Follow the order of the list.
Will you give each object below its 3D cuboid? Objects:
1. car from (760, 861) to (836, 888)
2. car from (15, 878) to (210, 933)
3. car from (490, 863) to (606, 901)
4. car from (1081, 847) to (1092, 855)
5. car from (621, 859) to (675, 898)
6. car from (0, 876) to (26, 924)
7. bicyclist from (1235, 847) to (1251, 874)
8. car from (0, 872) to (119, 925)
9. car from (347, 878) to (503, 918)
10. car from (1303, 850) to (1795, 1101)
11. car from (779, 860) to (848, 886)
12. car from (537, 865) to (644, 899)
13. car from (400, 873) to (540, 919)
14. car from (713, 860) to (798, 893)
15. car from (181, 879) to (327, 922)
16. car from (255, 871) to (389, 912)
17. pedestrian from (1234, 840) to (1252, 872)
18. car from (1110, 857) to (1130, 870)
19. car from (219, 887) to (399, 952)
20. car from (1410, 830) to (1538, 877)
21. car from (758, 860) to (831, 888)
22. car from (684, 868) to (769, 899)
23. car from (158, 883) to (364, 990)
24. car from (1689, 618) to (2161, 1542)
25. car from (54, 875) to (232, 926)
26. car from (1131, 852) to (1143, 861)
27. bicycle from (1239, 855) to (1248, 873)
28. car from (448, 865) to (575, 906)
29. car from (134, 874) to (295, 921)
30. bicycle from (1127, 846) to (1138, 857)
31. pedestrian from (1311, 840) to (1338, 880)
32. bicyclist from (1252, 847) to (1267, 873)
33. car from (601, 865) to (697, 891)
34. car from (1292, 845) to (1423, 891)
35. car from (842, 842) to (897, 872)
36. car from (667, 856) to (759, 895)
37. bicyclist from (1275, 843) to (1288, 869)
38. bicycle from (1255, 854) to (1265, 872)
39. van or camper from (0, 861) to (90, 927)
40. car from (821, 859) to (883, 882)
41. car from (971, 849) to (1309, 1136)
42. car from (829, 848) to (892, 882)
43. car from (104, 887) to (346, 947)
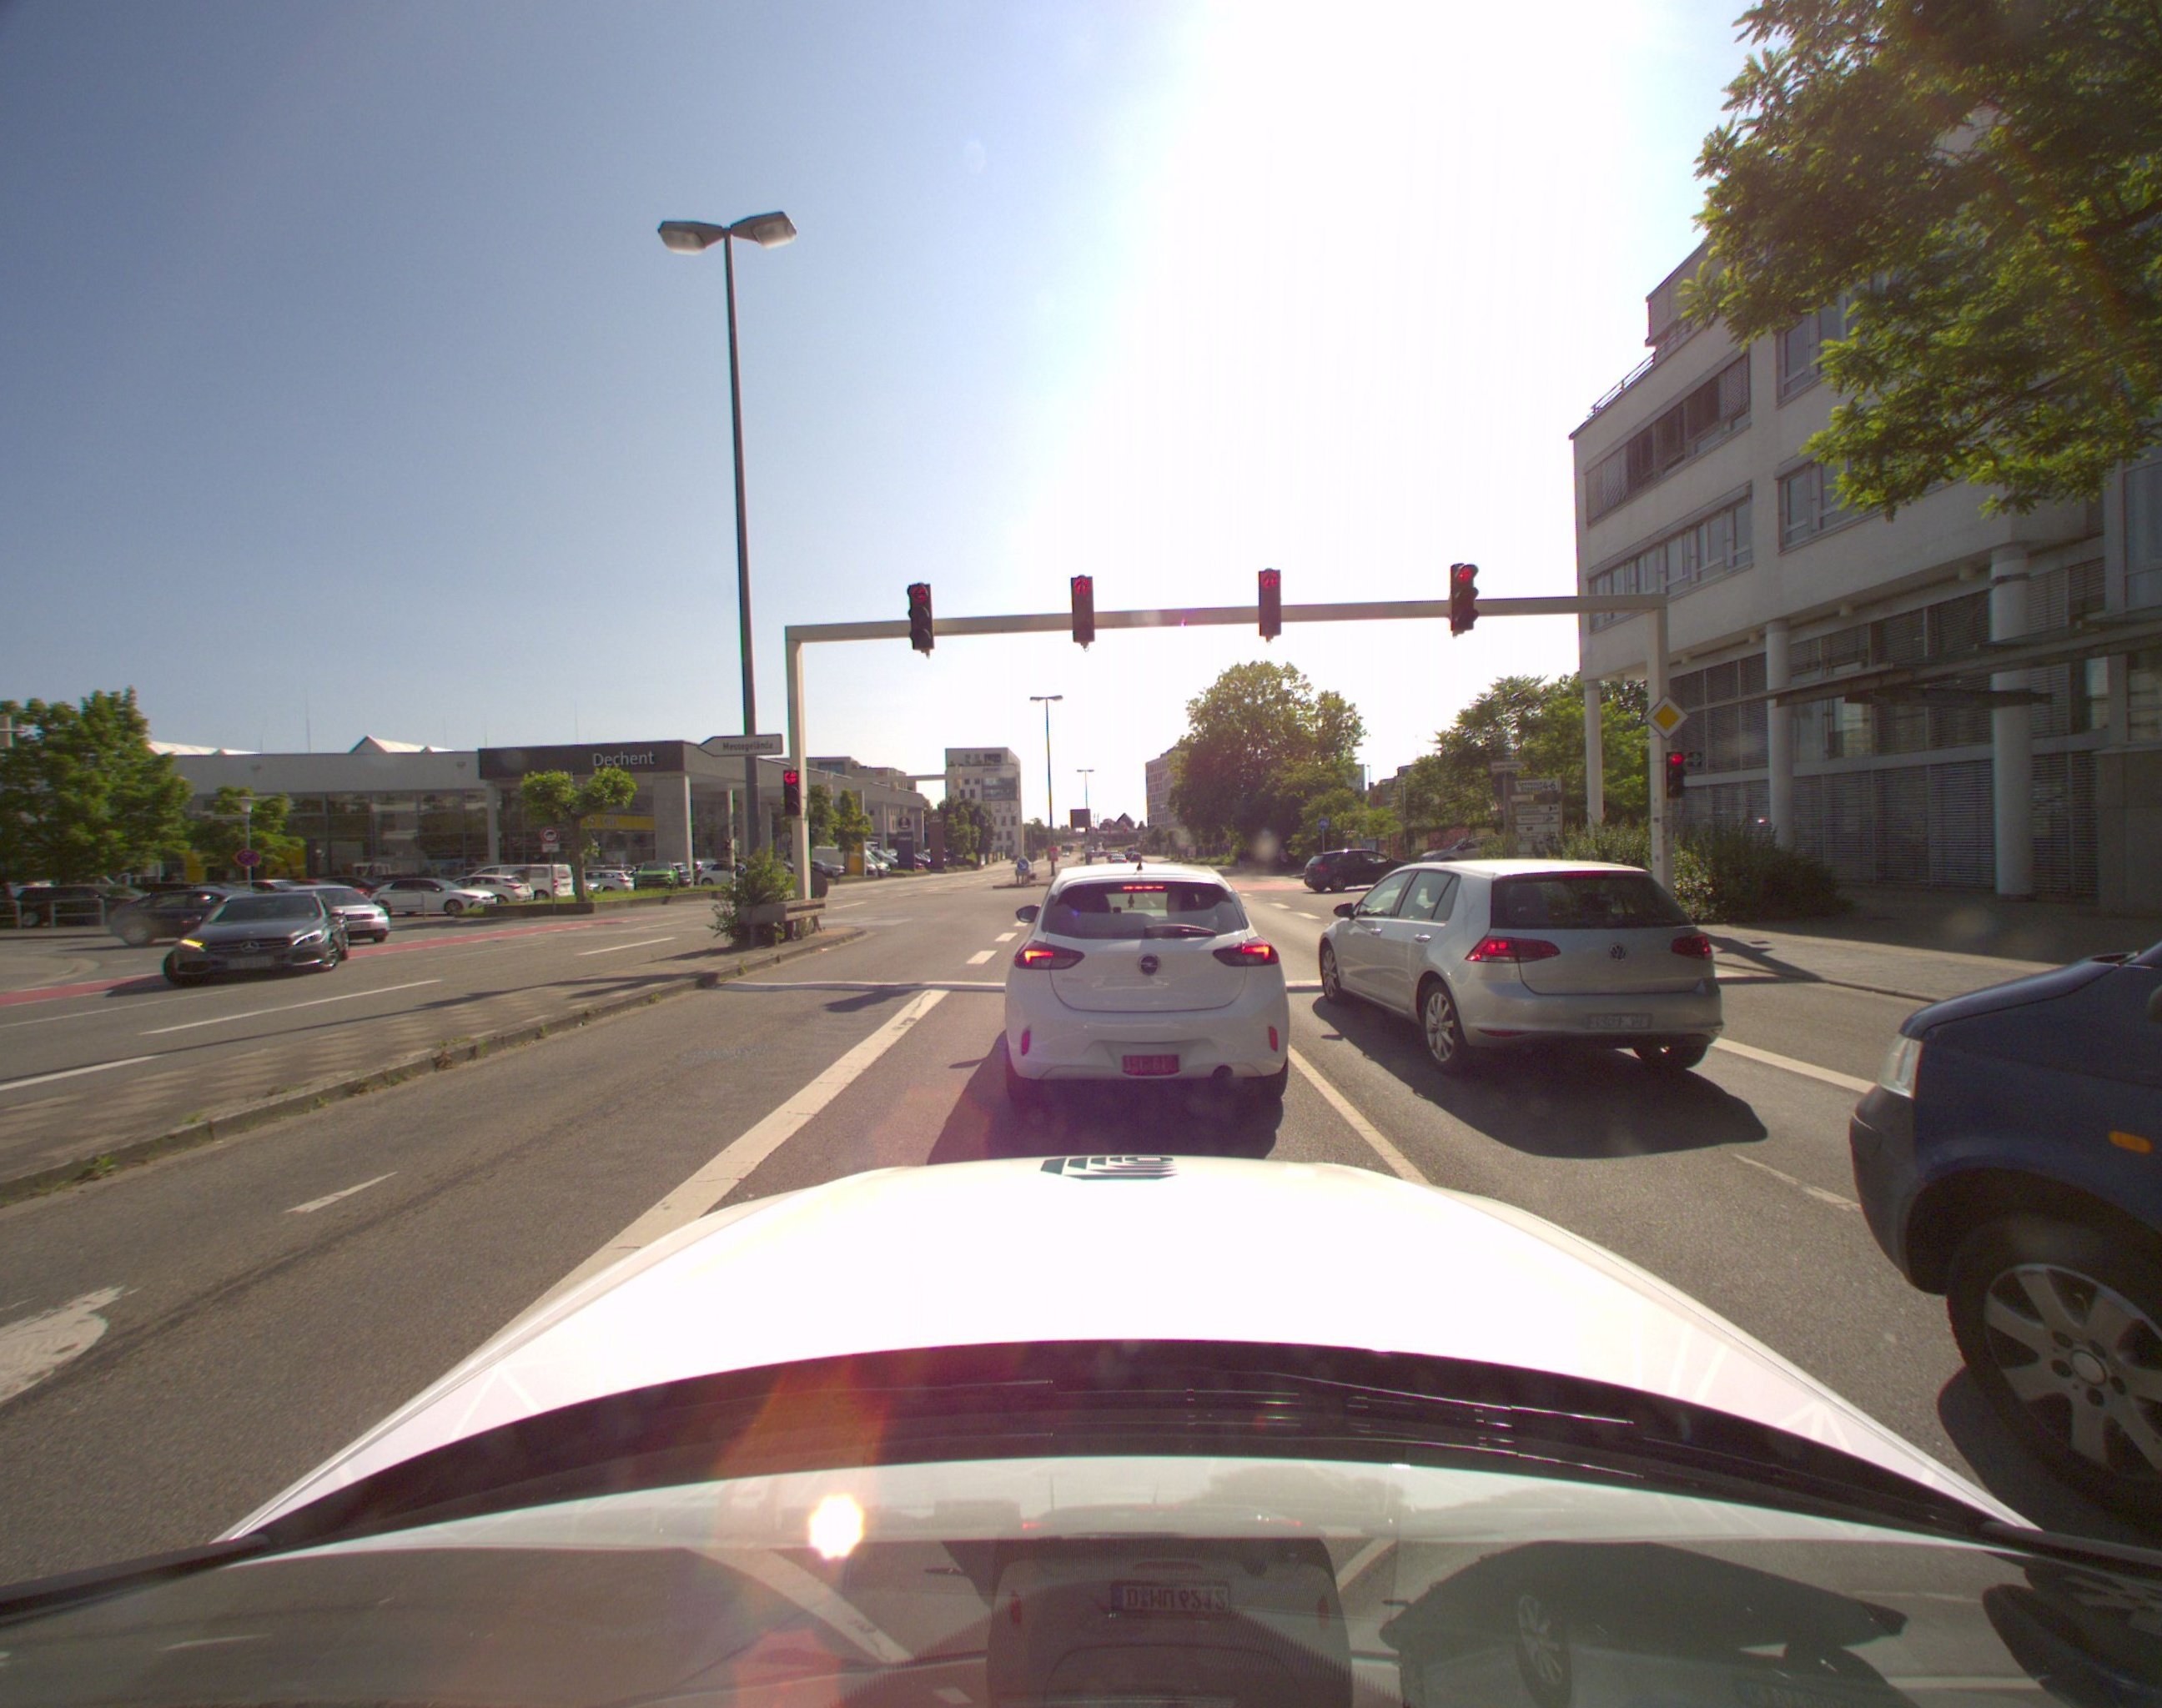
[{"bbox_3d":[-18.984,1.353,54.692,4.343,1.696,1.999,-2,0,-1],"label":"car"},{"bbox_3d":[-34.918,1.808,29.477,4.348,1.696,1.997,-2,0,-4],"label":"car"},{"bbox_3d":[-26.736,1.384,40.967,4.353,1.696,1.995,-2,0,-7],"label":"car"},{"bbox_3d":[1.036,-0.528,141.906,1.799,1.386,4.001,0,-1,2],"label":"car"},{"bbox_3d":[-21.255,1.217,39.940,1.915,1.733,3.258,-2,-1,-35],"label":"car"},{"bbox_3d":[-40.608,1.702,28.317,4.371,1.696,1.987,-2,0,-20],"label":"car"},{"bbox_3d":[10.763,0.411,54.099,0.876,1.772,0.864,-2,0,1],"label":"bicyclist"},{"bbox_3d":[-43.165,1.821,33.683,3.984,2.013,1.995,-2,0,-8],"label":"car"},{"bbox_3d":[-25.539,1.701,31.844,4.348,1.300,1.997,-2,0,-4],"label":"car"},{"bbox_3d":[3.335,0.740,6.852,1.802,1.429,3.999,-2,-1,0],"label":"car"},{"bbox_3d":[-19.706,1.365,60.140,4.344,1.696,1.999,-2,0,-1],"label":"car"},{"bbox_3d":[-26.159,1.495,43.569,4.352,1.591,1.996,-2,0,-7],"label":"car"},{"bbox_3d":[-26.202,1.775,35.053,4.348,1.696,1.997,-2,0,-4],"label":"car"},{"bbox_3d":[-19.763,1.345,49.591,4.284,1.765,1.999,-2,0,-1],"label":"car"},{"bbox_3d":[-37.411,2.086,36.939,4.348,1.696,1.997,-2,0,-4],"label":"car"},{"bbox_3d":[-36.621,1.776,39.399,4.352,1.696,1.995,-2,0,-7],"label":"car"},{"bbox_3d":[11.416,0.131,57.536,1.023,2.238,1.039,-2,0,1],"label":"pedestrian"},{"bbox_3d":[3.977,0.964,82.633,1.984,1.331,4.004,0,-1,4],"label":"car"},{"bbox_3d":[-19.543,1.628,20.637,3.869,1.438,1.787,-2,0,21],"label":"car"},{"bbox_3d":[16.262,-0.023,33.936,4.389,1.551,2.007,-4,-1,12],"label":"car"},{"bbox_3d":[-19.981,1.382,56.944,4.344,1.696,1.999,-2,0,-1],"label":"car"},{"bbox_3d":[-20.348,1.662,46.849,3.981,1.599,1.996,-2,0,-6],"label":"car"},{"bbox_3d":[-14.806,1.365,15.006,1.971,1.427,4.534,-3,1,-37],"label":"car"},{"bbox_3d":[3.219,0.444,0.566,1.986,1.948,4.892,-2,-1,2],"label":"car"},{"bbox_3d":[-36.666,1.783,31.942,4.348,1.696,1.997,-2,0,-4],"label":"car"},{"bbox_3d":[9.211,0.382,134.188,1.799,1.386,4.001,0,-1,2],"label":"car"},{"bbox_3d":[10.779,0.664,54.093,0.371,1.216,1.154,0,0,2],"label":"bicycle"},{"bbox_3d":[-26.577,1.442,38.147,4.353,1.696,1.995,-2,0,-7],"label":"car"},{"bbox_3d":[-36.307,1.803,34.232,4.348,1.696,1.997,-2,0,-4],"label":"car"},{"bbox_3d":[9.781,-0.465,155.550,1.986,2.157,4.001,-2,0,1],"label":"bicycle"},{"bbox_3d":[12.428,0.306,41.530,1.023,2.013,1.039,-2,0,1],"label":"pedestrian"},{"bbox_3d":[11.539,0.357,52.623,0.687,1.643,0.775,-2,0,-7],"label":"bicyclist"},{"bbox_3d":[-24.705,1.374,46.663,4.352,1.268,1.995,-3,-2,-7],"label":"car"},{"bbox_3d":[9.898,0.478,29.291,3.982,1.442,1.996,-2,0,-6],"label":"car"},{"bbox_3d":[-19.098,0.271,73.671,4.334,2.601,2.004,-2,0,6],"label":"car"},{"bbox_3d":[-19.261,1.093,42.762,3.859,1.837,1.999,-2,0,-1],"label":"car"},{"bbox_3d":[13.099,0.136,53.213,0.650,1.637,0.660,0,-1,1],"label":"bicyclist"},{"bbox_3d":[11.557,0.606,52.644,0.372,1.147,1.034,0,-1,0],"label":"bicycle"},{"bbox_3d":[-41.949,1.571,31.324,4.711,2.400,1.995,-2,0,-8],"label":"van or camper"},{"bbox_3d":[-18.506,1.339,65.885,4.334,1.696,2.004,-2,0,6],"label":"car"},{"bbox_3d":[0.375,0.748,6.390,1.773,1.494,4.001,-2,0,2],"label":"car"},{"bbox_3d":[-18.472,0.940,68.337,4.469,2.684,2.134,-2,0,10],"label":"car"},{"bbox_3d":[-24.300,1.751,23.315,4.361,1.447,1.991,-1,0,-13],"label":"car"}]
